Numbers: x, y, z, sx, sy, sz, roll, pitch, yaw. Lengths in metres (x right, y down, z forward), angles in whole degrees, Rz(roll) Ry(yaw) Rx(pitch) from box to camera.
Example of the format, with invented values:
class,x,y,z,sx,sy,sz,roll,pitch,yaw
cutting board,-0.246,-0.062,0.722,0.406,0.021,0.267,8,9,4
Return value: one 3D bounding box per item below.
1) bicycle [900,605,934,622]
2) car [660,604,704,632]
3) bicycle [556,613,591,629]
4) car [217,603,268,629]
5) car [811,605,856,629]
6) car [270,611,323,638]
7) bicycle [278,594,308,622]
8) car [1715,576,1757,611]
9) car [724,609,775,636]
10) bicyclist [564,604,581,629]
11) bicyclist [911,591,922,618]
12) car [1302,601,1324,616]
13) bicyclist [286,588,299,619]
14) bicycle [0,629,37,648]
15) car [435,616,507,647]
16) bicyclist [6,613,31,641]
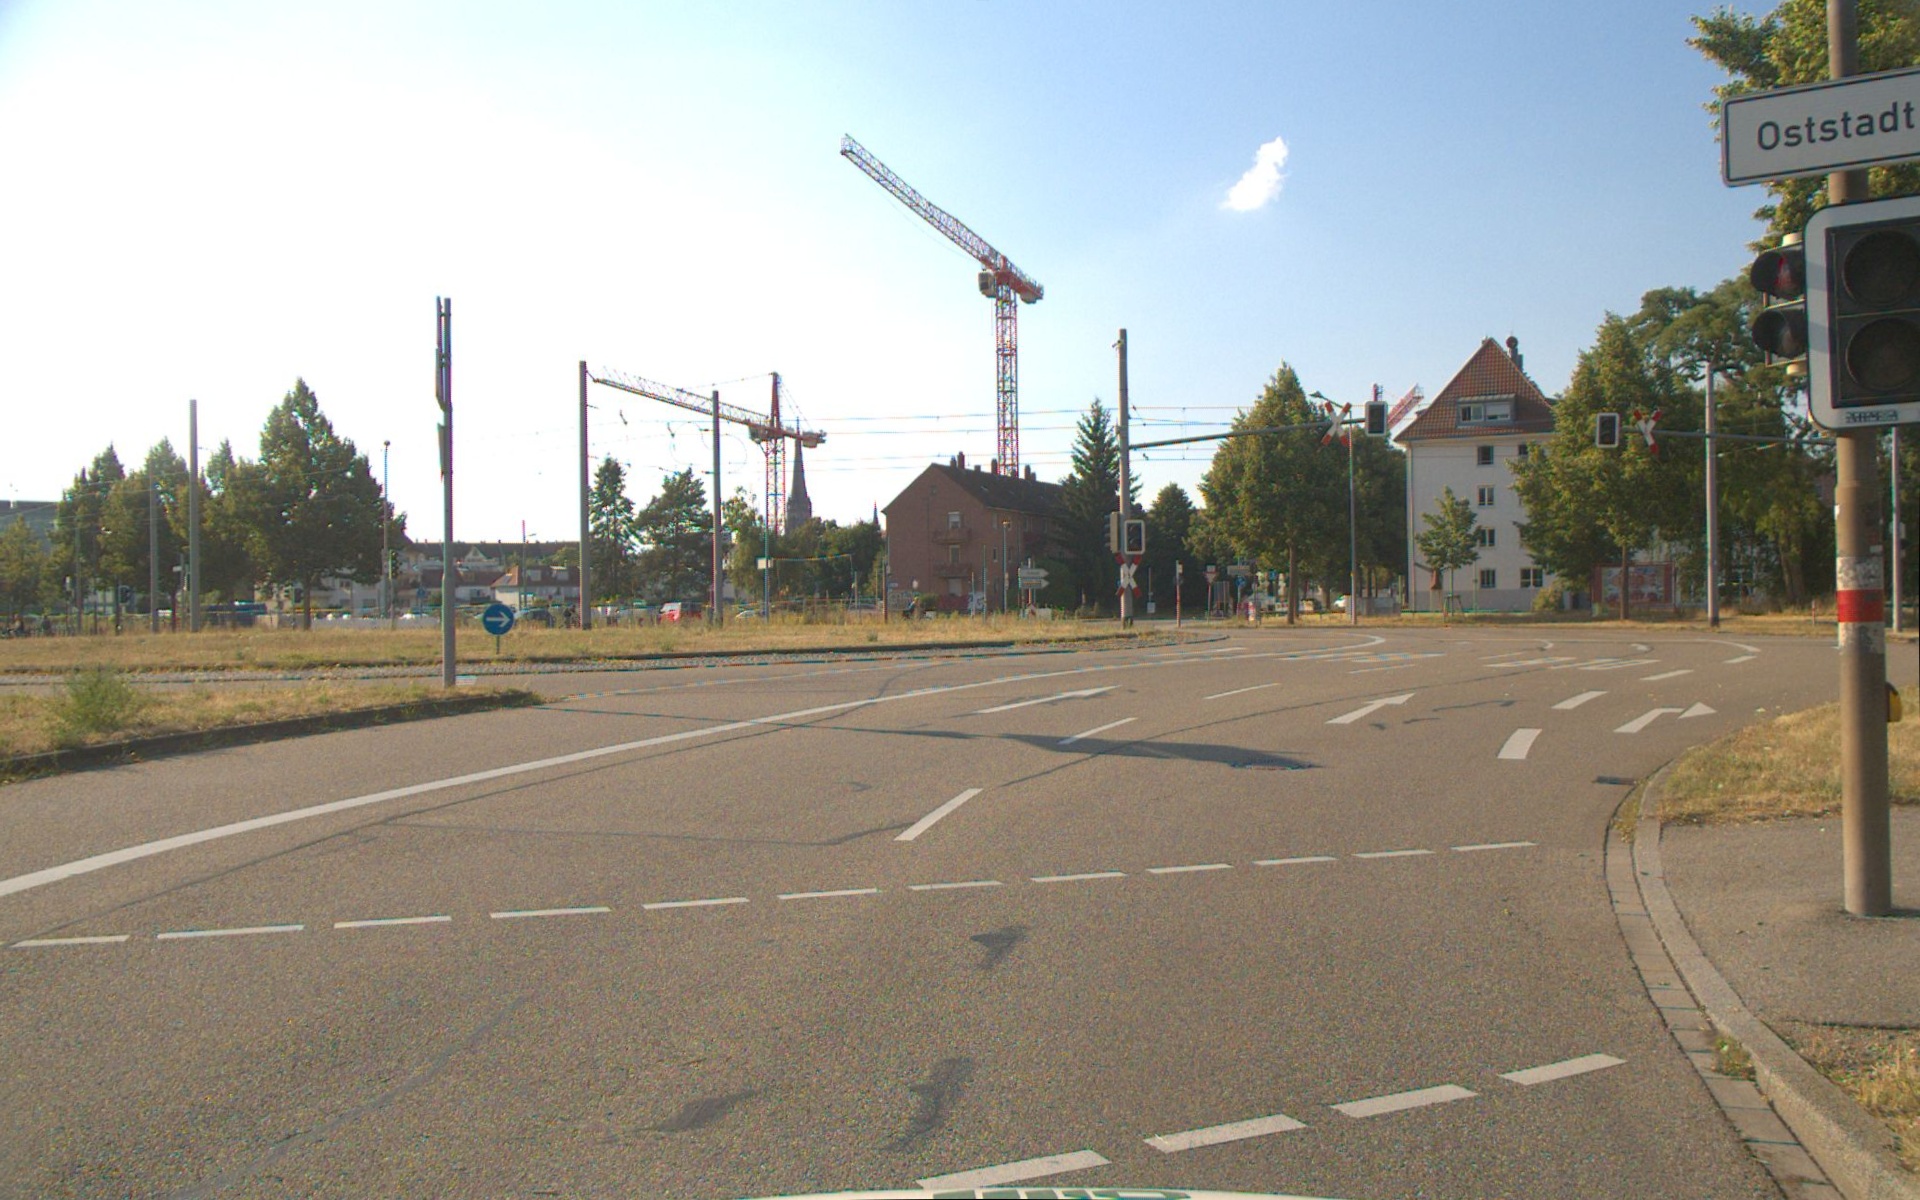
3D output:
class,x,y,z,sx,sy,sz,roll,pitch,yaw
bicycle,-2.507,0.760,95.755,1.949,0.934,0.429,-1,0,-6
car,-19.526,1.231,116.115,1.898,1.886,3.962,-1,0,-28
bicycle,-22.641,1.225,96.905,1.949,0.839,0.429,-1,0,-6
car,-58.606,1.306,135.082,3.917,2.049,1.994,-1,0,34
car,-11.381,1.541,148.909,3.728,2.049,1.673,-1,-1,18
car,-52.283,1.930,130.306,3.917,2.049,1.994,-1,0,34
bicycle,-36.920,0.429,91.577,1.518,1.499,0.476,-1,0,-22
car,38.748,-0.305,82.546,1.737,1.646,3.963,-1,-1,27
car,-16.836,1.799,132.287,3.728,2.049,1.673,-1,-1,18
bicyclist,-22.711,0.953,96.852,0.880,1.421,0.525,-1,0,-6
bicyclist,-2.519,0.264,95.757,0.610,1.537,0.418,-1,0,-6
car,33.066,0.753,154.879,1.425,1.323,3.548,-1,0,22
bicyclist,-36.958,0.182,91.567,0.598,1.701,0.475,-1,-1,-21
bicycle,-47.517,1.938,83.425,0.536,0.875,1.609,-1,0,43
car,-30.505,1.951,103.231,3.950,1.847,1.977,-1,0,-33
bicyclist,-47.518,1.365,83.461,0.681,1.381,0.951,-1,0,42
